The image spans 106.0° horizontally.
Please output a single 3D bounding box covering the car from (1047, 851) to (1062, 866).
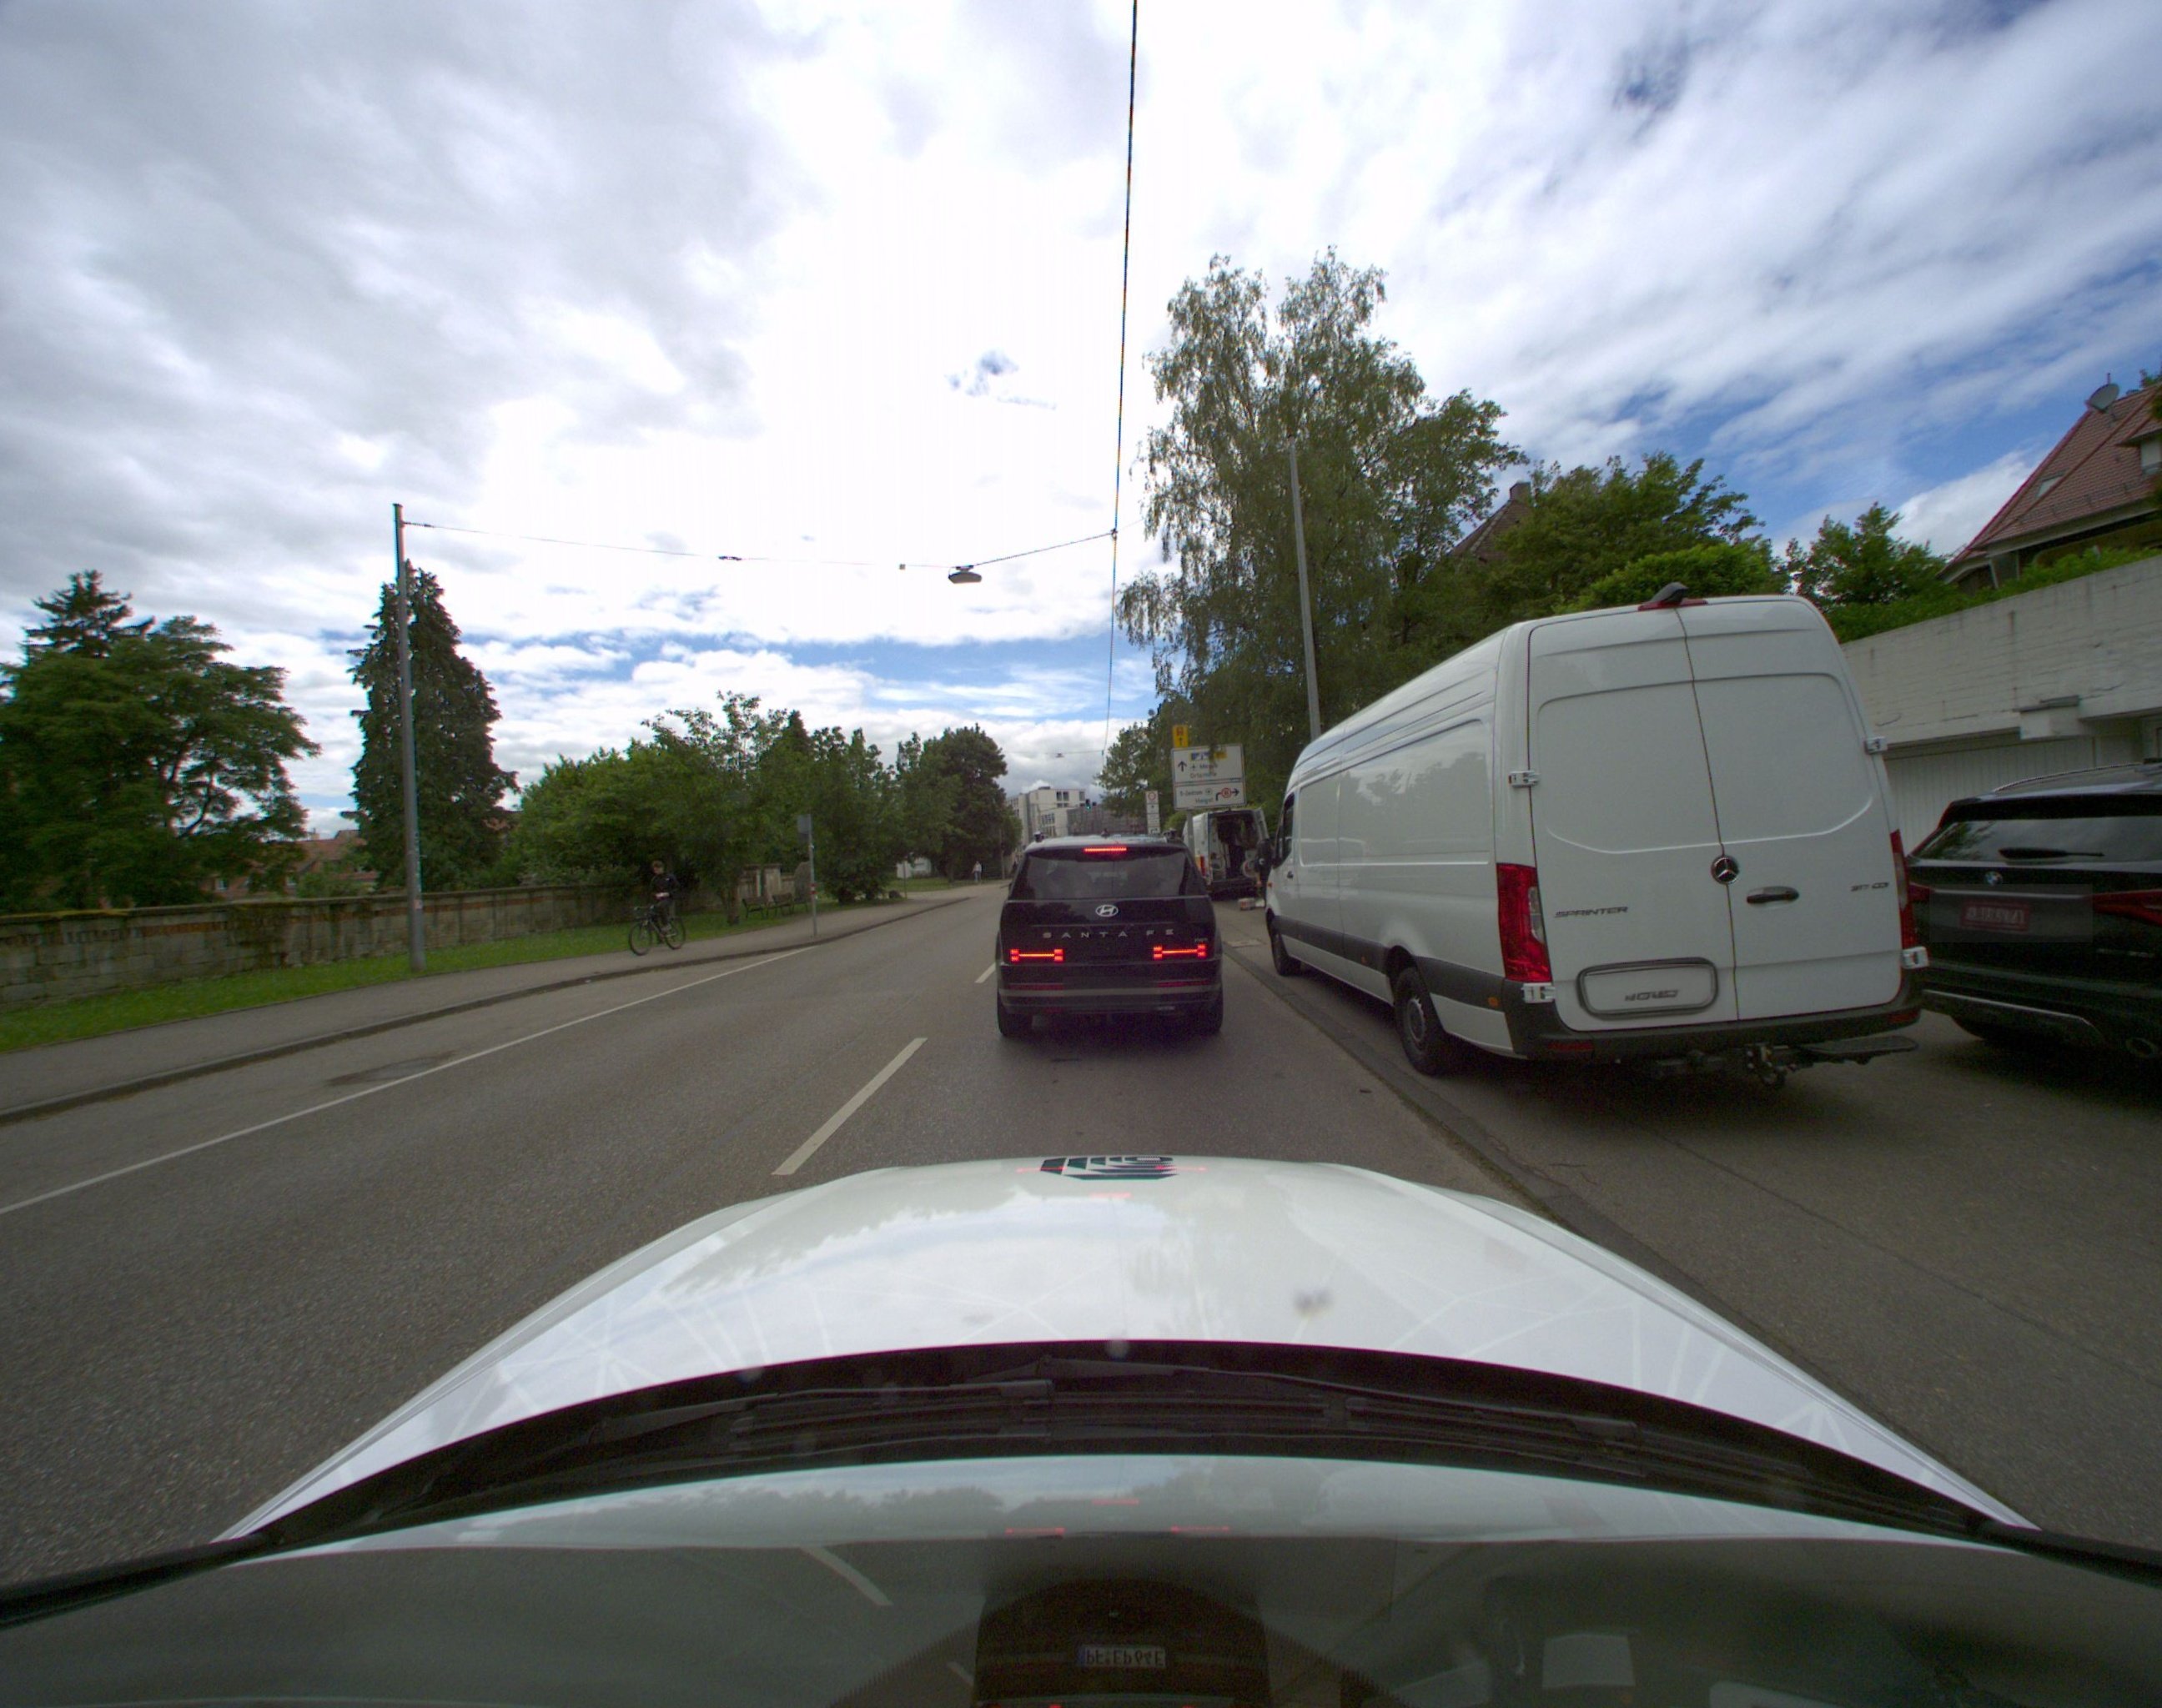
[{"bbox_3d":[-4.778,0.807,144.574,2.328,2.315,4.950,-3,0,-4],"label":"car"}]

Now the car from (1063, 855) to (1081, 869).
[{"bbox_3d":[-1.032,0.927,98.357,1.808,1.419,4.830,-6,-1,1],"label":"car"}]

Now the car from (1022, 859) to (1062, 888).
[{"bbox_3d":[-2.141,1.053,45.662,1.750,1.403,4.416,-5,-1,2],"label":"car"}]

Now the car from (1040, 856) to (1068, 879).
[{"bbox_3d":[-1.965,0.974,59.818,1.695,1.483,4.001,-5,-1,2],"label":"car"}]

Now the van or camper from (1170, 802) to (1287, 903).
[{"bbox_3d":[4.347,0.016,25.309,2.332,2.494,6.603,-6,-1,1],"label":"van or camper"}]

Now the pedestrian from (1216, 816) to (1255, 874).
[{"bbox_3d":[4.522,-0.261,23.830,0.791,1.643,0.743,-5,-1,31],"label":"pedestrian"}]

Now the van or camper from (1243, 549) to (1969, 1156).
[{"bbox_3d":[3.069,0.017,7.051,1.984,2.625,6.546,-6,-1,2],"label":"van or camper"}]

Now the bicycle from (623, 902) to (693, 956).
[{"bbox_3d":[-8.786,1.540,16.977,0.493,0.964,1.749,0,-1,2],"label":"bicycle"}]

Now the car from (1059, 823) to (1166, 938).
[{"bbox_3d":[0.623,0.495,16.508,1.890,2.042,3.995,0,-1,2],"label":"car"}]

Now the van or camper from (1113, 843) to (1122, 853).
[{"bbox_3d":[7.707,-1.209,172.581,1.791,1.999,3.821,0,-1,-2],"label":"van or camper"}]

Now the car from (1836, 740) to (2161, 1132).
[{"bbox_3d":[6.797,0.214,4.047,4.365,1.675,1.696,-4,-1,2],"label":"car"}]

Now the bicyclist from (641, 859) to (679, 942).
[{"bbox_3d":[-8.787,0.958,17.019,0.486,1.684,0.588,0,-1,1],"label":"bicyclist"}]

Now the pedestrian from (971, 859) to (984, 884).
[{"bbox_3d":[-7.418,1.259,58.640,0.764,1.748,0.904,-2,-1,-1],"label":"pedestrian"}]

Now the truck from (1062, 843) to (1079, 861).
[{"bbox_3d":[-2.509,-0.448,187.371,3.102,3.859,9.606,-3,0,-4],"label":"truck"}]

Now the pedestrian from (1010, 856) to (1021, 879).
[{"bbox_3d":[-5.815,1.197,72.794,0.826,2.014,1.048,0,-1,4],"label":"pedestrian"}]

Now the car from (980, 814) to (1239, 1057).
[{"bbox_3d":[0.270,0.617,7.988,1.890,1.776,3.995,0,-1,2],"label":"car"}]

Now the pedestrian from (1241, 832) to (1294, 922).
[{"bbox_3d":[3.656,0.446,16.030,0.789,1.721,0.750,0,-1,-9],"label":"pedestrian"}]
